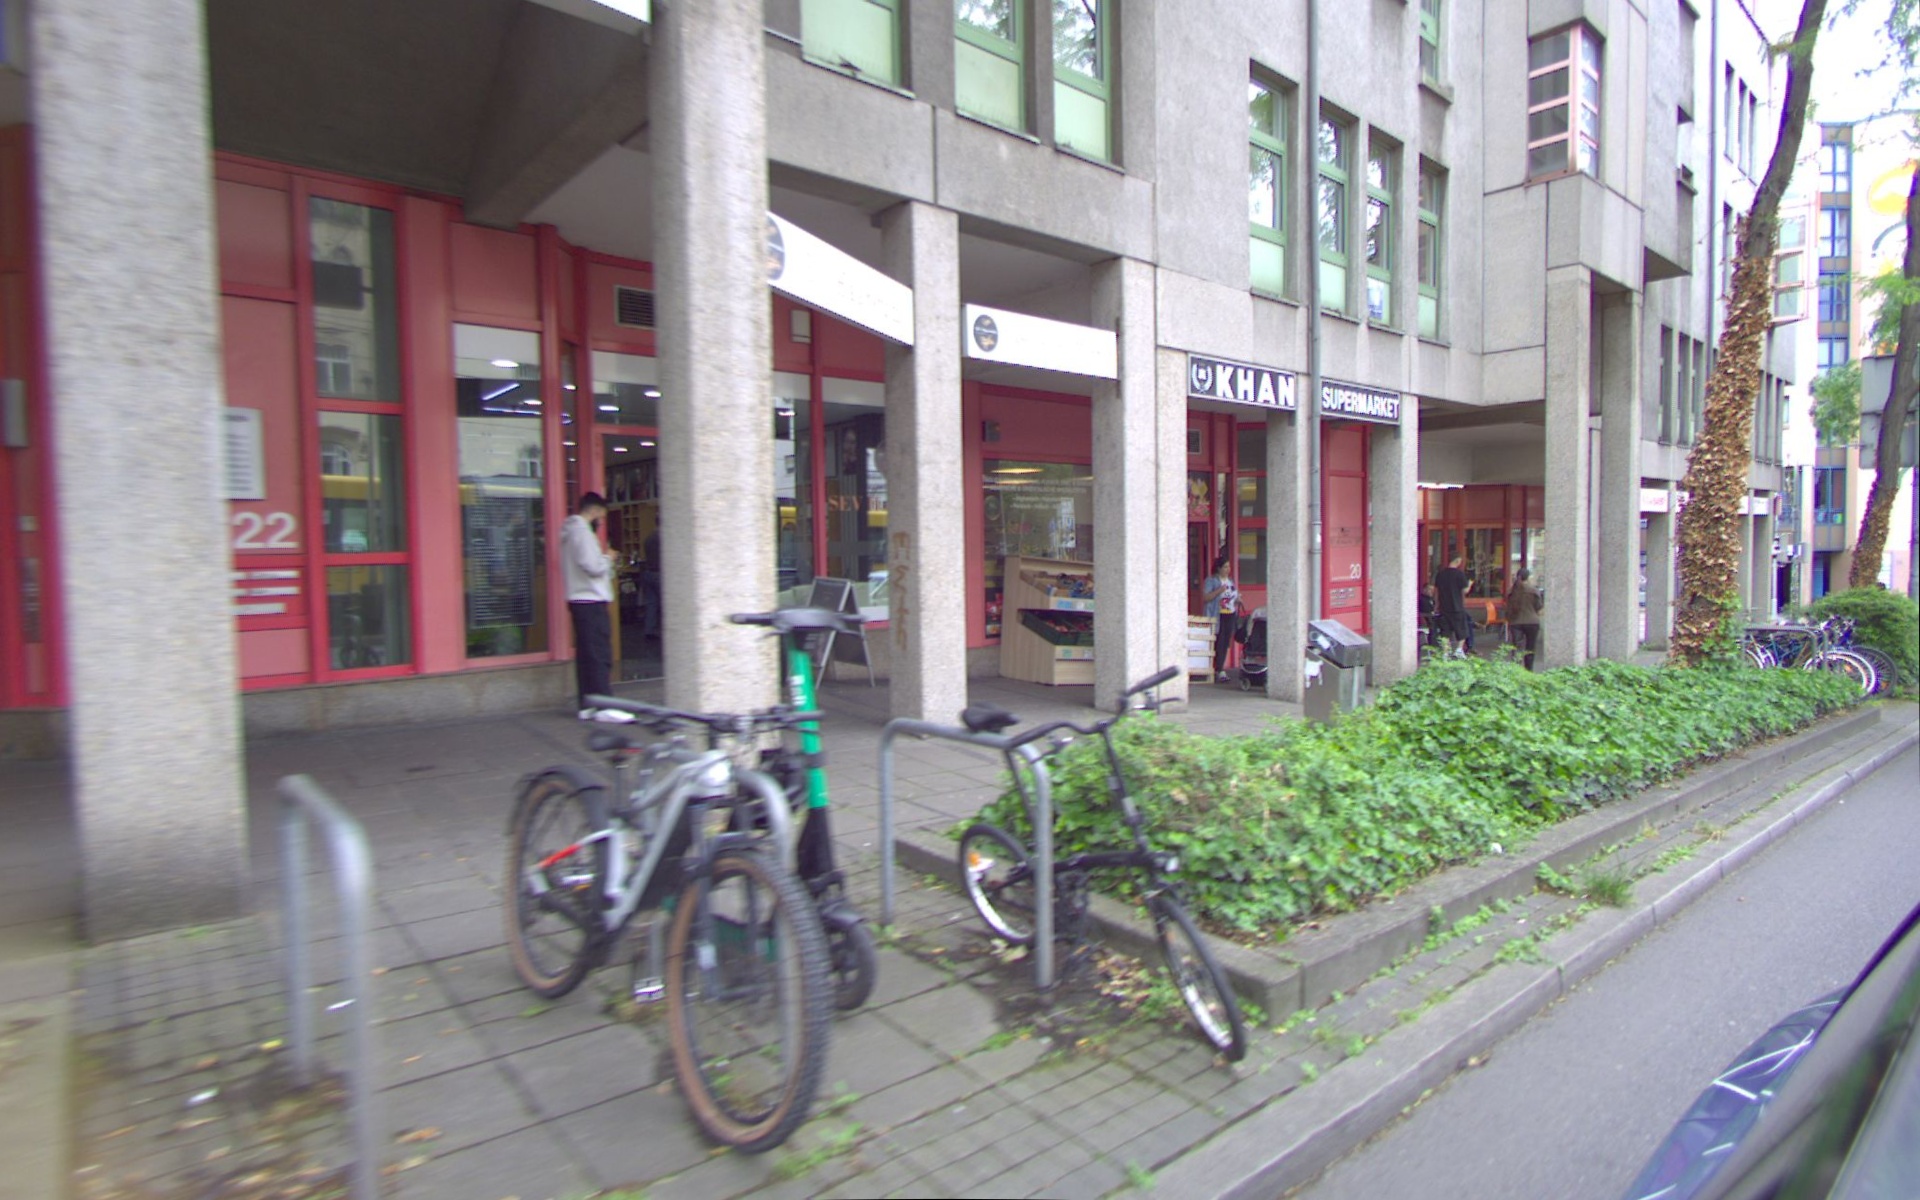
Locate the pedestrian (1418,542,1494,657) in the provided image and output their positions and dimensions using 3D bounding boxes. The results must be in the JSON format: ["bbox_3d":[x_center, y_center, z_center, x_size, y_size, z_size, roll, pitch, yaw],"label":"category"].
[{"bbox_3d":[8.182,-0.013,16.698,0.710,1.825,0.834,2,2,-40],"label":"pedestrian"}]

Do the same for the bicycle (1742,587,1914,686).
[{"bbox_3d":[11.781,0.457,13.790,1.708,1.198,0.442,4,4,43],"label":"bicycle"}]

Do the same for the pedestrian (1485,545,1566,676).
[{"bbox_3d":[8.138,0.125,14.557,0.762,1.804,0.834,3,3,45],"label":"pedestrian"}]

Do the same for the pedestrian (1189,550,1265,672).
[{"bbox_3d":[3.679,0.144,13.964,0.750,1.632,0.618,2,1,-36],"label":"pedestrian"}]

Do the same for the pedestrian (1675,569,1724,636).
[{"bbox_3d":[19.450,0.075,26.633,0.848,1.735,1.115,-1,-1,28],"label":"pedestrian"}]

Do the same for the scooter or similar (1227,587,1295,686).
[{"bbox_3d":[3.718,0.429,12.508,0.754,1.123,0.854,1,3,17],"label":"scooter or similar"}]

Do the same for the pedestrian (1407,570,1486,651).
[{"bbox_3d":[8.770,0.165,18.252,1.056,1.380,0.745,4,3,44],"label":"pedestrian"}]

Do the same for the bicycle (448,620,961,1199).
[{"bbox_3d":[-0.873,0.684,2.925,0.603,1.089,1.919,-1,4,-42],"label":"bicycle"}]

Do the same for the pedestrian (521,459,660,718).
[{"bbox_3d":[-2.807,-0.097,7.661,0.710,1.825,0.834,2,2,-37],"label":"pedestrian"}]

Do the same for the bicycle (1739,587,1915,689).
[{"bbox_3d":[11.481,0.466,13.459,1.708,1.198,0.442,4,4,43],"label":"bicycle"}]

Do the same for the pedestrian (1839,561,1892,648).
[{"bbox_3d":[19.581,0.095,21.883,0.820,1.825,0.722,2,2,-44],"label":"pedestrian"}]

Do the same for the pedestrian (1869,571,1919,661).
[{"bbox_3d":[17.485,0.288,18.930,0.615,1.632,0.753,3,1,39],"label":"pedestrian"}]

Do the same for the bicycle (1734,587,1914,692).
[{"bbox_3d":[11.163,0.478,13.122,1.708,1.198,0.442,4,4,43],"label":"bicycle"}]

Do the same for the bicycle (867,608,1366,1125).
[{"bbox_3d":[0.383,0.656,3.281,0.602,1.141,1.626,-1,4,-36],"label":"bicycle"}]
